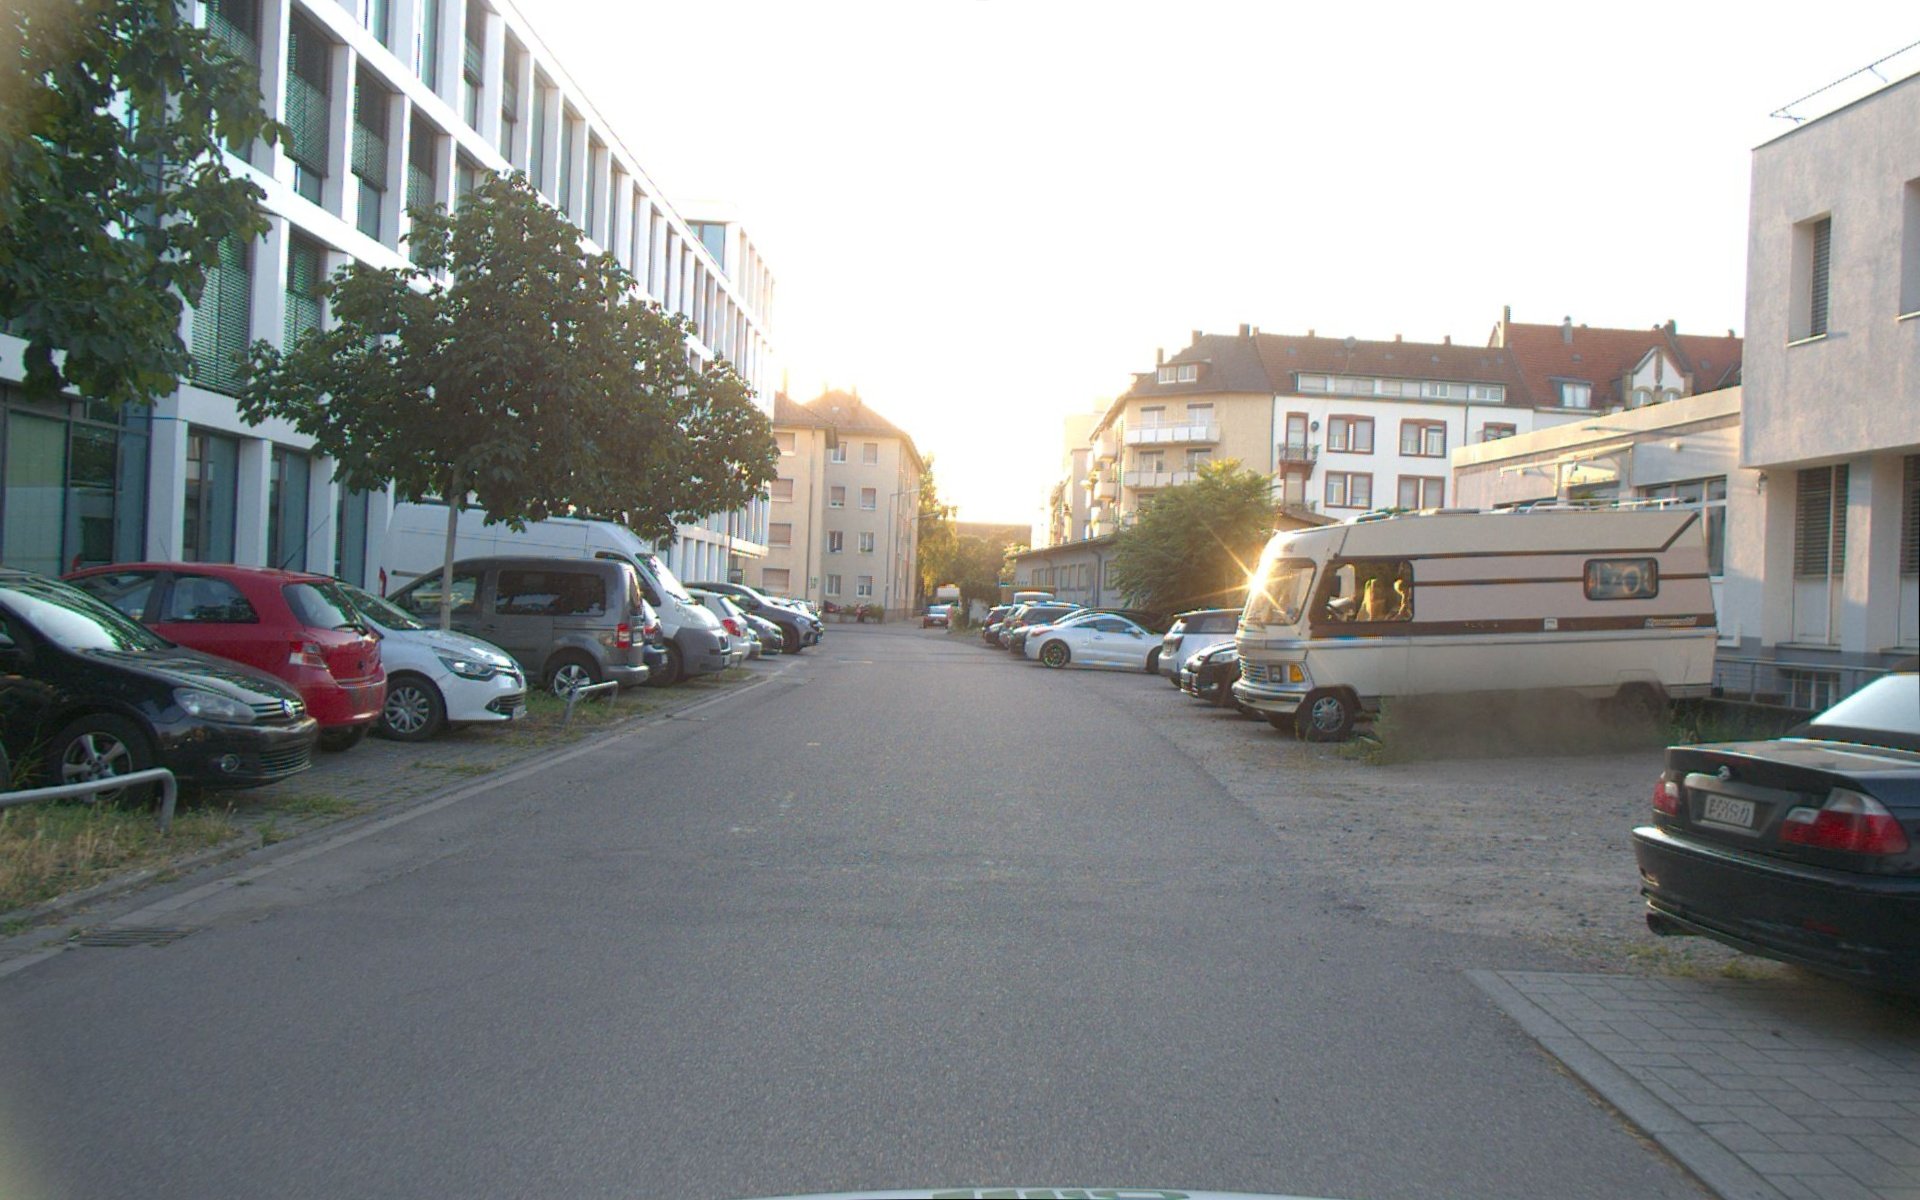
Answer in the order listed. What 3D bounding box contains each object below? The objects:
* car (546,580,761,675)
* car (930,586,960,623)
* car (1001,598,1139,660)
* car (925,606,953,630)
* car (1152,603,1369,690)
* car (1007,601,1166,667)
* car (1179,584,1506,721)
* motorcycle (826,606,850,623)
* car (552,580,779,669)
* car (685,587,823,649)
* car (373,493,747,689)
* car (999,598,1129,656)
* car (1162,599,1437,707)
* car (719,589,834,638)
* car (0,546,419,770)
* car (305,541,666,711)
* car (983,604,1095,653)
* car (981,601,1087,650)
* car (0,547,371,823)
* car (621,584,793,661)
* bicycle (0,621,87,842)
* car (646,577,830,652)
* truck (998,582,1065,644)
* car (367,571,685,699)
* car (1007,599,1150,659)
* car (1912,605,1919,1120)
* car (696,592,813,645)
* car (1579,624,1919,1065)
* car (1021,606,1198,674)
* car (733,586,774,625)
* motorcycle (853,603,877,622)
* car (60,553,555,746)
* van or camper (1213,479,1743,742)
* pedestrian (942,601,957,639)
[{"bbox_3d":[-5.675,0.504,30.921,3.633,1.521,1.707,3,0,-1],"label":"car"},{"bbox_3d":[-1.358,0.446,156.750,2.566,3.326,7.697,0,0,1],"label":"car"},{"bbox_3d":[3.328,0.872,50.655,3.907,1.647,1.825,3,0,-6],"label":"car"},{"bbox_3d":[-1.423,1.204,111.445,1.807,1.499,4.077,2,0,-1],"label":"car"},{"bbox_3d":[5.517,0.846,30.612,3.632,1.505,1.711,1,0,-4],"label":"car"},{"bbox_3d":[3.422,0.928,45.228,4.117,1.529,1.889,3,-1,-1],"label":"car"},{"bbox_3d":[5.274,0.708,23.254,4.153,1.771,1.968,1,-1,1],"label":"car"},{"bbox_3d":[-7.871,0.938,106.718,0.708,1.098,2.081,2,0,21],"label":"motorcycle"},{"bbox_3d":[-5.963,0.479,33.790,4.220,1.521,1.795,3,0,1],"label":"car"},{"bbox_3d":[-5.853,0.501,47.250,3.590,1.537,1.697,3,0,3],"label":"car"},{"bbox_3d":[-6.218,-0.141,26.188,5.271,2.678,2.078,3,0,0],"label":"car"},{"bbox_3d":[3.300,0.851,53.051,3.905,1.637,1.937,3,0,-4],"label":"car"},{"bbox_3d":[5.321,0.817,26.161,3.927,1.591,1.710,1,0,-7],"label":"car"},{"bbox_3d":[-6.583,0.481,59.528,3.846,1.537,1.687,3,0,0],"label":"car"},{"bbox_3d":[-6.752,0.404,13.451,4.025,1.545,1.844,3,0,-1],"label":"car"},{"bbox_3d":[-5.912,0.322,21.030,4.028,1.848,1.814,3,0,-5],"label":"car"},{"bbox_3d":[2.725,0.997,57.902,3.685,1.470,1.844,3,-1,-4],"label":"car"},{"bbox_3d":[2.663,0.918,60.337,3.683,1.562,1.891,3,1,-1],"label":"car"},{"bbox_3d":[-6.191,0.437,10.706,4.026,1.545,1.844,3,0,-3],"label":"car"},{"bbox_3d":[-5.821,0.502,38.410,3.706,1.549,1.693,3,0,-3],"label":"car"},{"bbox_3d":[-5.575,0.633,8.644,1.661,1.084,0.566,3,0,0],"label":"bicycle"},{"bbox_3d":[-5.940,0.374,44.631,4.523,1.736,2.005,3,0,3],"label":"car"},{"bbox_3d":[2.722,0.506,64.479,2.056,2.239,5.708,2,0,-3],"label":"truck"},{"bbox_3d":[-6.052,0.480,23.453,4.028,1.525,1.773,3,0,-5],"label":"car"},{"bbox_3d":[3.381,0.844,47.807,3.904,1.470,1.826,3,-1,-2],"label":"car"},{"bbox_3d":[4.722,0.761,3.851,3.976,1.432,1.895,1,0,-5],"label":"car"},{"bbox_3d":[-6.763,0.590,54.725,3.580,1.537,1.687,3,0,0],"label":"car"},{"bbox_3d":[4.817,0.810,6.275,4.230,1.357,1.894,1,-1,-5],"label":"car"},{"bbox_3d":[3.585,0.959,40.197,4.116,1.391,1.823,3,0,1],"label":"car"},{"bbox_3d":[-11.175,0.261,89.814,1.762,2.014,4.687,2,0,-3],"label":"car"},{"bbox_3d":[-6.289,0.832,109.232,0.675,1.181,2.032,2,0,25],"label":"motorcycle"},{"bbox_3d":[-6.197,0.454,16.064,4.025,1.545,1.780,3,0,-1],"label":"car"},{"bbox_3d":[6.163,0.143,20.197,5.666,2.914,2.485,1,-1,-4],"label":"van or camper"},{"bbox_3d":[-0.585,1.099,90.971,0.565,2.049,0.554,2,0,39],"label":"pedestrian"}]
